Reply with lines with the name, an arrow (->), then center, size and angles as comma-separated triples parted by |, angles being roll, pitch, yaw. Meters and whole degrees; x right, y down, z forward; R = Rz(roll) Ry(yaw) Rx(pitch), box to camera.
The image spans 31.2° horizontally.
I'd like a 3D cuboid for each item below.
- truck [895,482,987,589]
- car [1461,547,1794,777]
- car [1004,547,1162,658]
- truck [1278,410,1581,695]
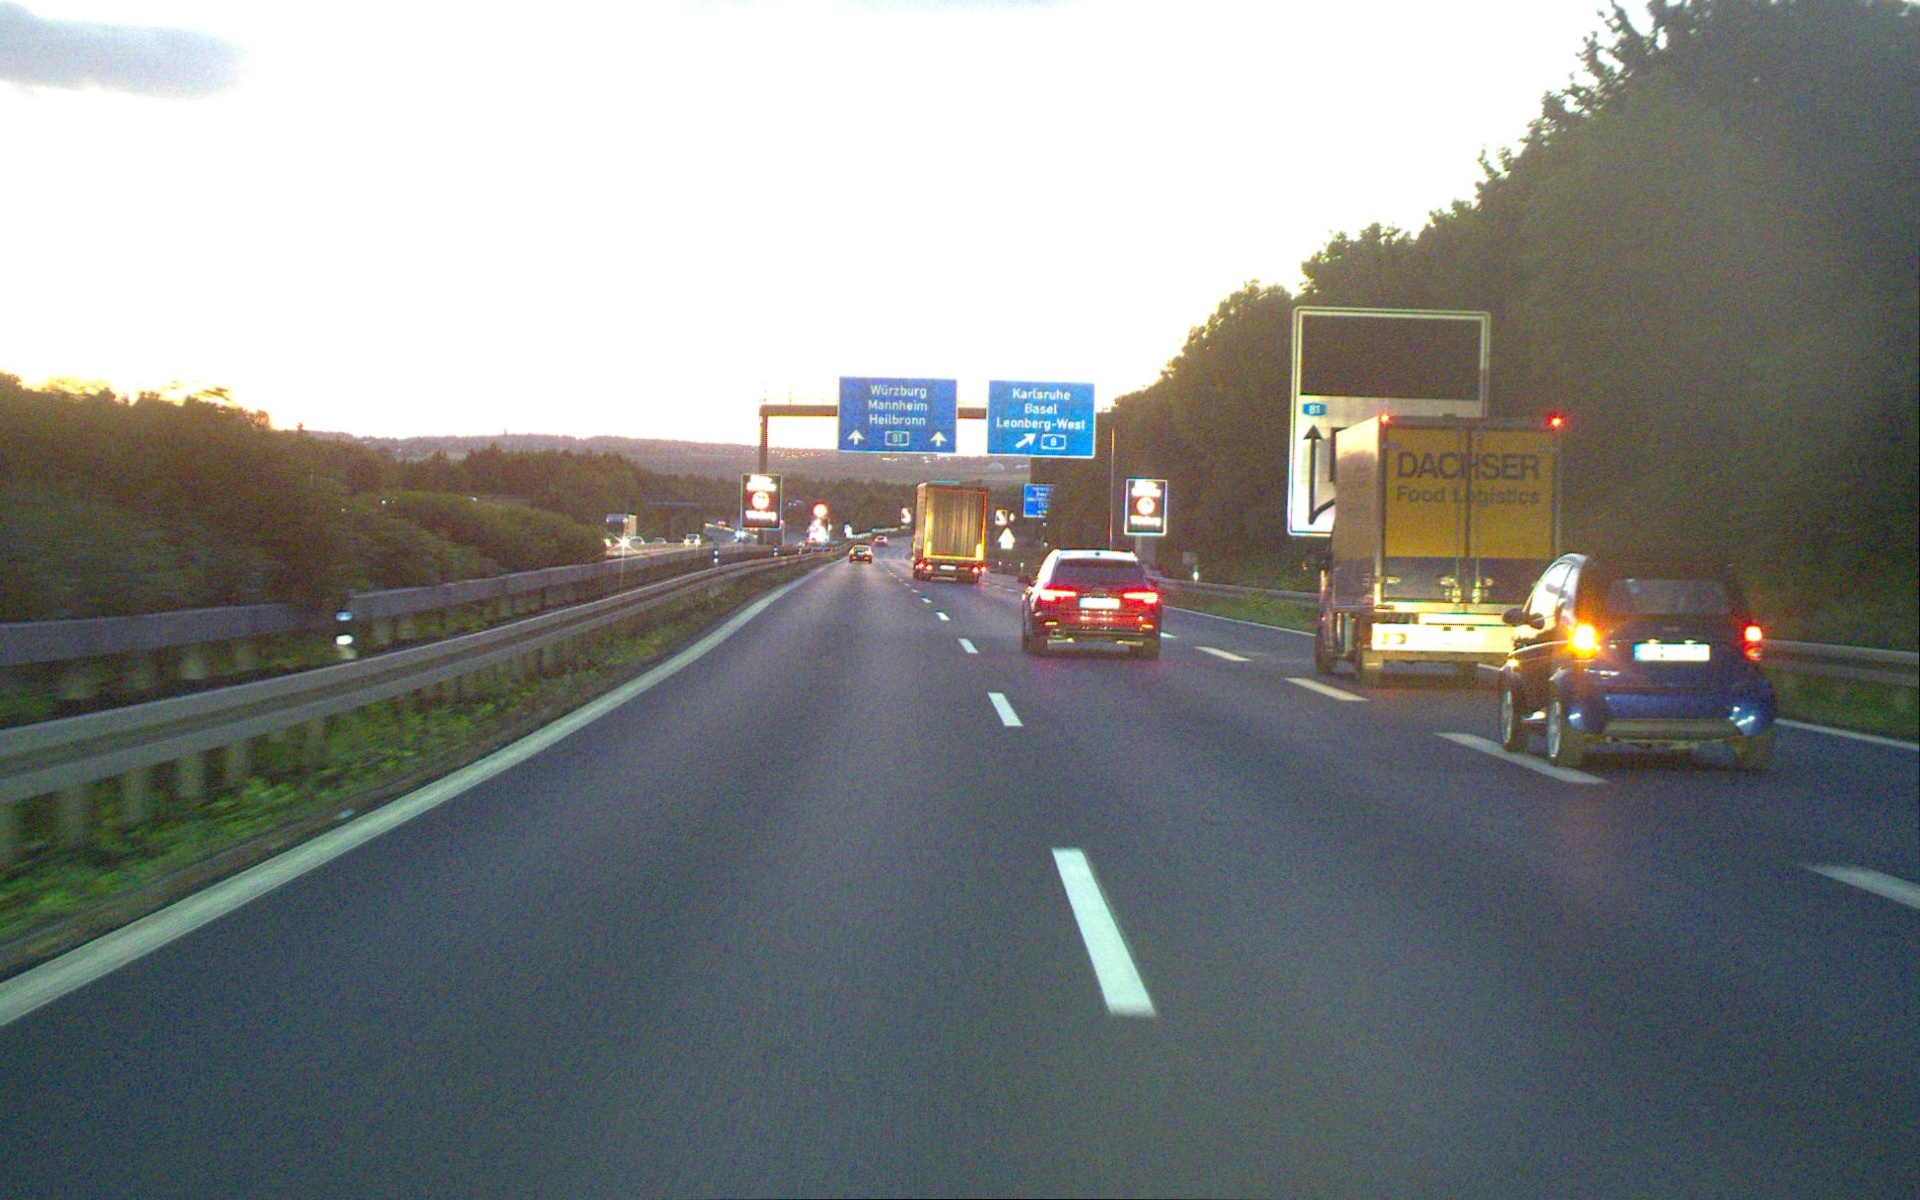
truck -> -0.851, -2.673, 145.182 | 3.509, 4.286, 9.892 | 1, 0, -2
car -> 4.823, 0.412, 25.240 | 1.610, 1.550, 3.319 | 1, 0, -3
car -> 1.660, 0.020, 47.768 | 1.915, 1.437, 4.000 | 1, 0, -2
truck -> 5.418, -0.572, 40.721 | 2.268, 2.961, 6.632 | 4, 1, -2
